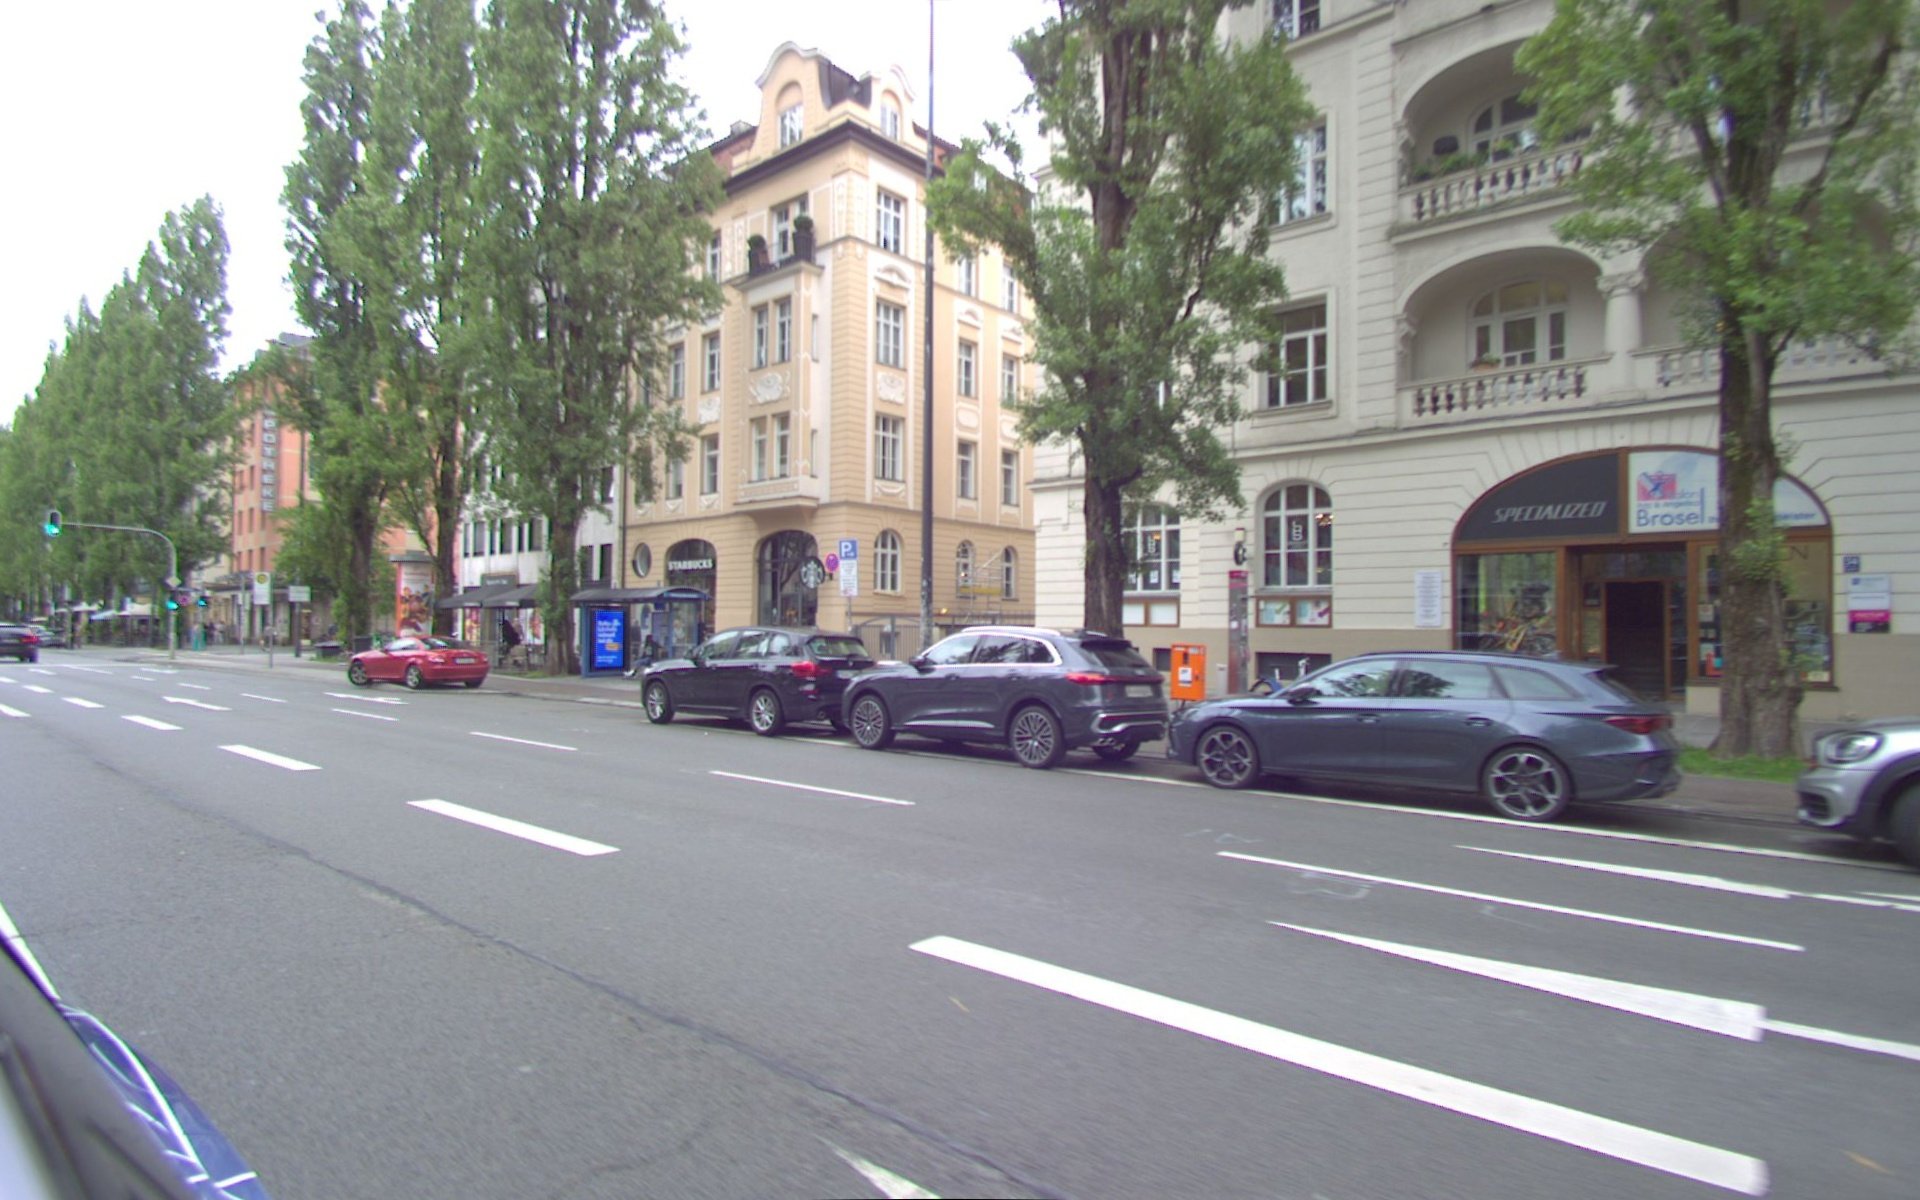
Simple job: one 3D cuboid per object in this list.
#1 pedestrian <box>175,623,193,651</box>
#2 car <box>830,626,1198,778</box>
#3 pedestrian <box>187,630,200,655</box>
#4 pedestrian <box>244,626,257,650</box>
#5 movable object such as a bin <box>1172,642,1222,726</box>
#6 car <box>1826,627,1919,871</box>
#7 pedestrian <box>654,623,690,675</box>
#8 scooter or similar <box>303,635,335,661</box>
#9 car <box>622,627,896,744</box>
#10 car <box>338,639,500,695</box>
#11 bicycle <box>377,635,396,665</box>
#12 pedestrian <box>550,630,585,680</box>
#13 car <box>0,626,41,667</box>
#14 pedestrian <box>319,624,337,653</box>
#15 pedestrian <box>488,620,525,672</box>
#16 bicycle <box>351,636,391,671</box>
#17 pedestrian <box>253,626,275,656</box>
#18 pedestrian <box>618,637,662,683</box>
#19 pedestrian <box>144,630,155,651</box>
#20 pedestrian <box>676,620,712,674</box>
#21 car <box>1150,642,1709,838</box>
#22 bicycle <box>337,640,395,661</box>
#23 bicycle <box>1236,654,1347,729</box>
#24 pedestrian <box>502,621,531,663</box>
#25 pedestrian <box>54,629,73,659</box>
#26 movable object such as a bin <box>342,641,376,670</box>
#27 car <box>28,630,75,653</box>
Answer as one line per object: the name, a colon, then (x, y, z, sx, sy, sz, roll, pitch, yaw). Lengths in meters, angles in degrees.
pedestrian: (-48.545, 2.314, 63.305, 0.778, 1.784, 0.716, -2, -2, 42)
car: (0.547, 1.162, 13.006, 4.628, 1.607, 1.784, -1, -3, 41)
pedestrian: (-53.781, 2.962, 70.982, 0.519, 1.701, 0.623, -1, -1, 42)
pedestrian: (-49.472, 2.662, 70.586, 0.513, 1.704, 0.580, -2, -3, 41)
movable object such as a bin: (3.881, 1.360, 16.567, 0.586, 1.326, 0.598, -2, -2, 41)
car: (8.065, 0.982, 6.214, 4.130, 1.587, 1.763, -2, -4, 41)
pedestrian: (-9.666, 1.645, 33.954, 0.977, 1.694, 0.724, -2, -1, 41)
scooter or similar: (-33.613, 2.516, 53.087, 1.341, 1.349, 0.439, 1, -2, -29)
car: (-3.376, 1.267, 16.454, 4.711, 1.630, 1.802, -1, -2, 40)
car: (-13.869, 1.664, 25.914, 4.080, 1.308, 1.865, -1, -2, 32)
bicycle: (-21.883, 1.900, 38.656, 0.499, 1.096, 1.815, 0, 0, -26)
pedestrian: (-13.957, 1.946, 35.980, 0.895, 1.757, 0.821, 2, -2, -44)
car: (-39.681, 1.907, 41.869, 4.334, 1.636, 1.915, -1, -4, 41)
pedestrian: (-39.673, 2.420, 63.558, 0.692, 1.780, 0.770, -2, -2, 41)
pedestrian: (-15.609, 1.595, 34.810, 0.895, 1.757, 0.821, 4, -5, -44)
bicycle: (-23.307, 2.089, 40.053, 0.501, 1.299, 1.955, -1, 0, -2)
pedestrian: (-38.821, 2.273, 56.415, 0.934, 1.631, 0.770, -2, -3, 41)
pedestrian: (-9.232, 1.725, 29.200, 0.757, 1.266, 0.951, -2, -2, 42)
pedestrian: (-67.325, 3.374, 84.075, 0.691, 1.731, 0.549, -2, -3, 40)
pedestrian: (-9.093, 1.598, 34.543, 0.911, 1.801, 0.791, -2, -1, 41)
car: (4.341, 1.171, 9.829, 4.681, 1.435, 1.668, -1, -4, 38)
bicycle: (-24.954, 2.105, 42.532, 0.827, 0.514, 1.939, 22, 8, 21)
bicycle: (5.415, 1.467, 16.671, 0.530, 1.121, 2.002, 1, -2, -24)
pedestrian: (-19.217, 1.808, 43.880, 0.954, 1.757, 0.834, -1, -1, 42)
pedestrian: (-55.795, 2.728, 62.998, 0.725, 1.809, 0.995, 0, -1, -31)
movable object such as a bin: (-22.747, 2.083, 38.319, 0.847, 1.049, 0.722, -1, 0, 12)
car: (-61.475, 2.821, 68.459, 4.586, 1.449, 1.686, -1, -3, 40)
